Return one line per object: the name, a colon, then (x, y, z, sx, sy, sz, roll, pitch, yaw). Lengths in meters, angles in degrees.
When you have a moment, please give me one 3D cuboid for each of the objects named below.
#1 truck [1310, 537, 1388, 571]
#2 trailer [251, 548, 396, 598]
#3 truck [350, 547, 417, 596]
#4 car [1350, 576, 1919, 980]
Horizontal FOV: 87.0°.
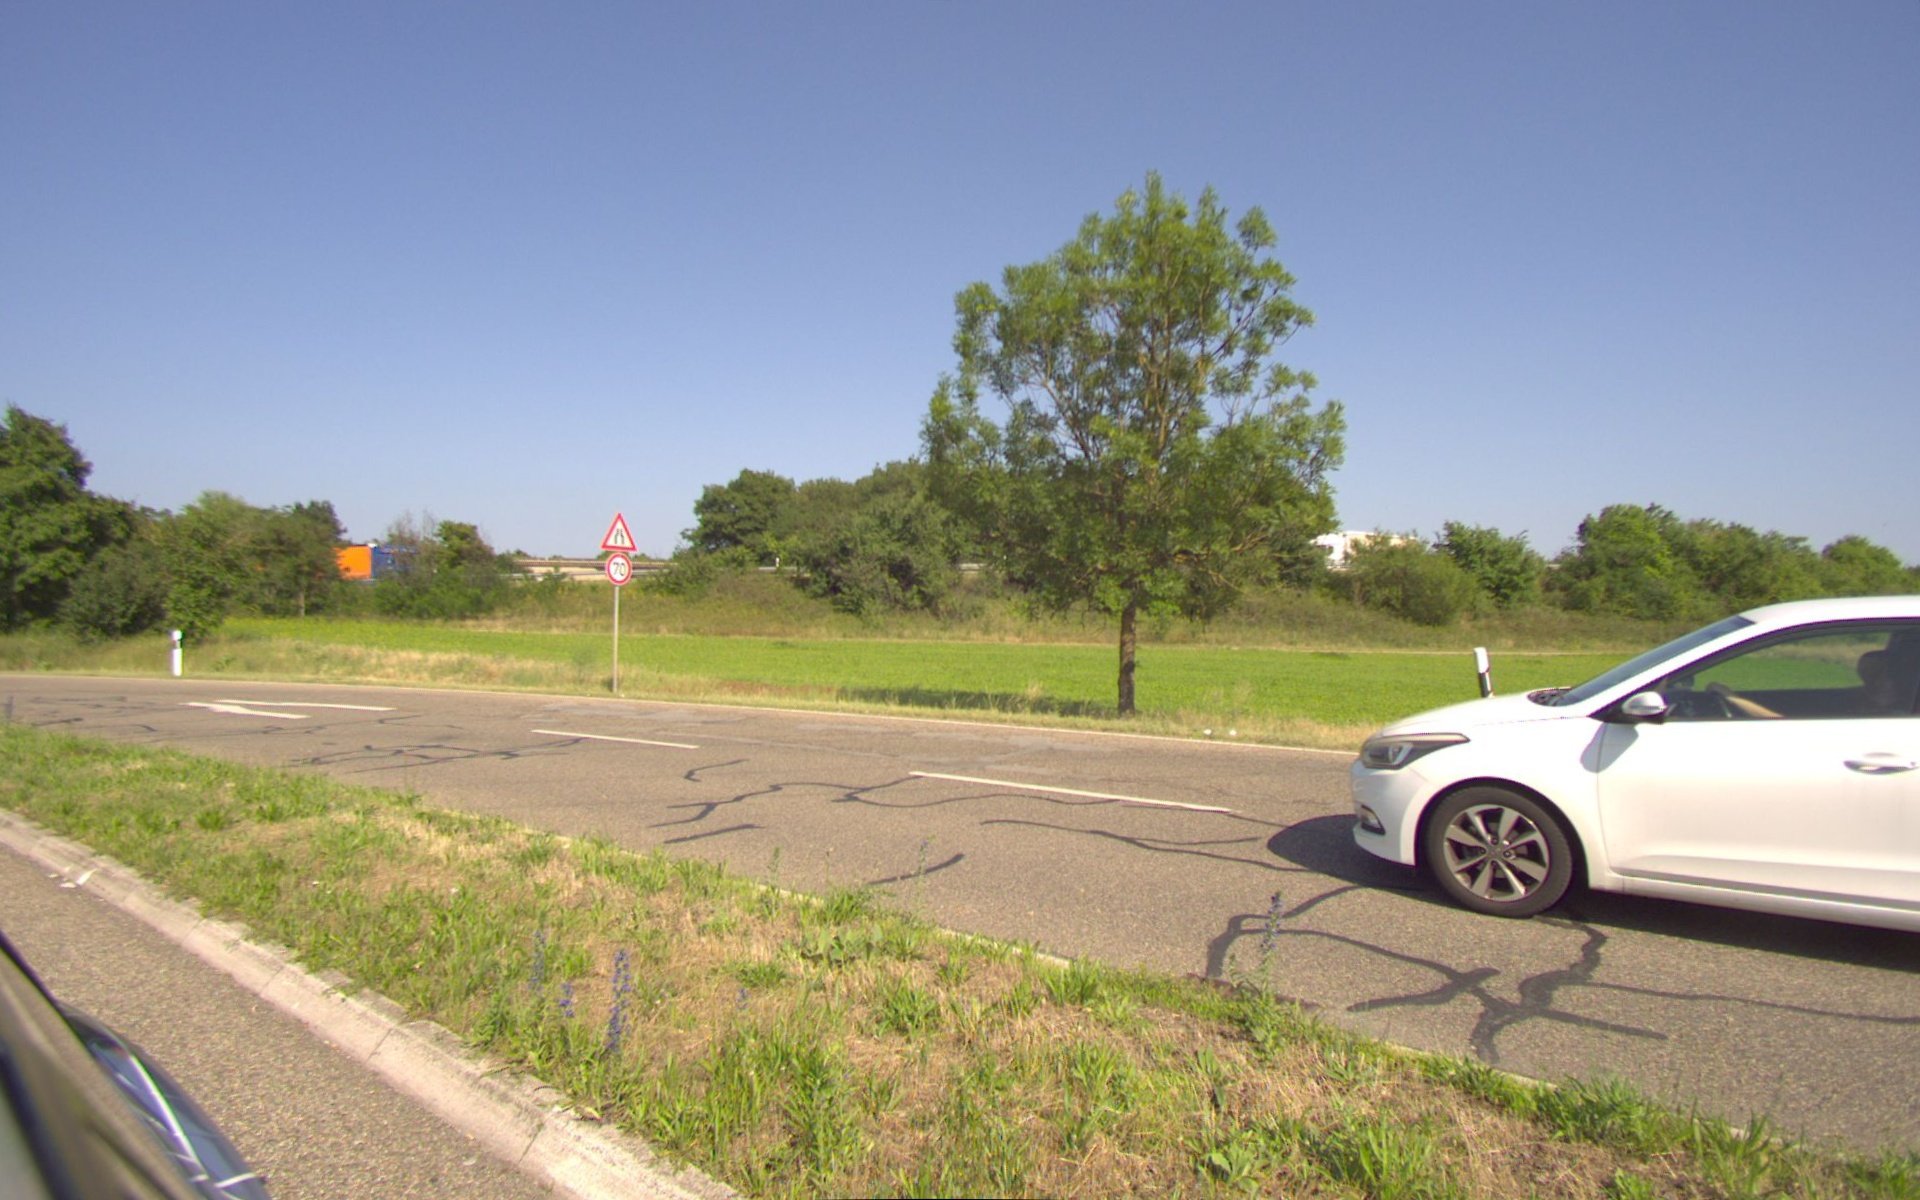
truck: (35.036, -4.029, 90.884, 9.783, 2.828, 2.493, -1, 0, -43)
trailer: (-55.413, -2.285, 87.998, 13.761, 3.989, 2.562, -1, 0, 19)
truck: (-48.814, -2.387, 85.708, 4.629, 4.005, 2.547, -1, 0, 19)
car: (3.968, 0.655, 4.413, 3.908, 1.476, 1.701, -1, -1, 39)
